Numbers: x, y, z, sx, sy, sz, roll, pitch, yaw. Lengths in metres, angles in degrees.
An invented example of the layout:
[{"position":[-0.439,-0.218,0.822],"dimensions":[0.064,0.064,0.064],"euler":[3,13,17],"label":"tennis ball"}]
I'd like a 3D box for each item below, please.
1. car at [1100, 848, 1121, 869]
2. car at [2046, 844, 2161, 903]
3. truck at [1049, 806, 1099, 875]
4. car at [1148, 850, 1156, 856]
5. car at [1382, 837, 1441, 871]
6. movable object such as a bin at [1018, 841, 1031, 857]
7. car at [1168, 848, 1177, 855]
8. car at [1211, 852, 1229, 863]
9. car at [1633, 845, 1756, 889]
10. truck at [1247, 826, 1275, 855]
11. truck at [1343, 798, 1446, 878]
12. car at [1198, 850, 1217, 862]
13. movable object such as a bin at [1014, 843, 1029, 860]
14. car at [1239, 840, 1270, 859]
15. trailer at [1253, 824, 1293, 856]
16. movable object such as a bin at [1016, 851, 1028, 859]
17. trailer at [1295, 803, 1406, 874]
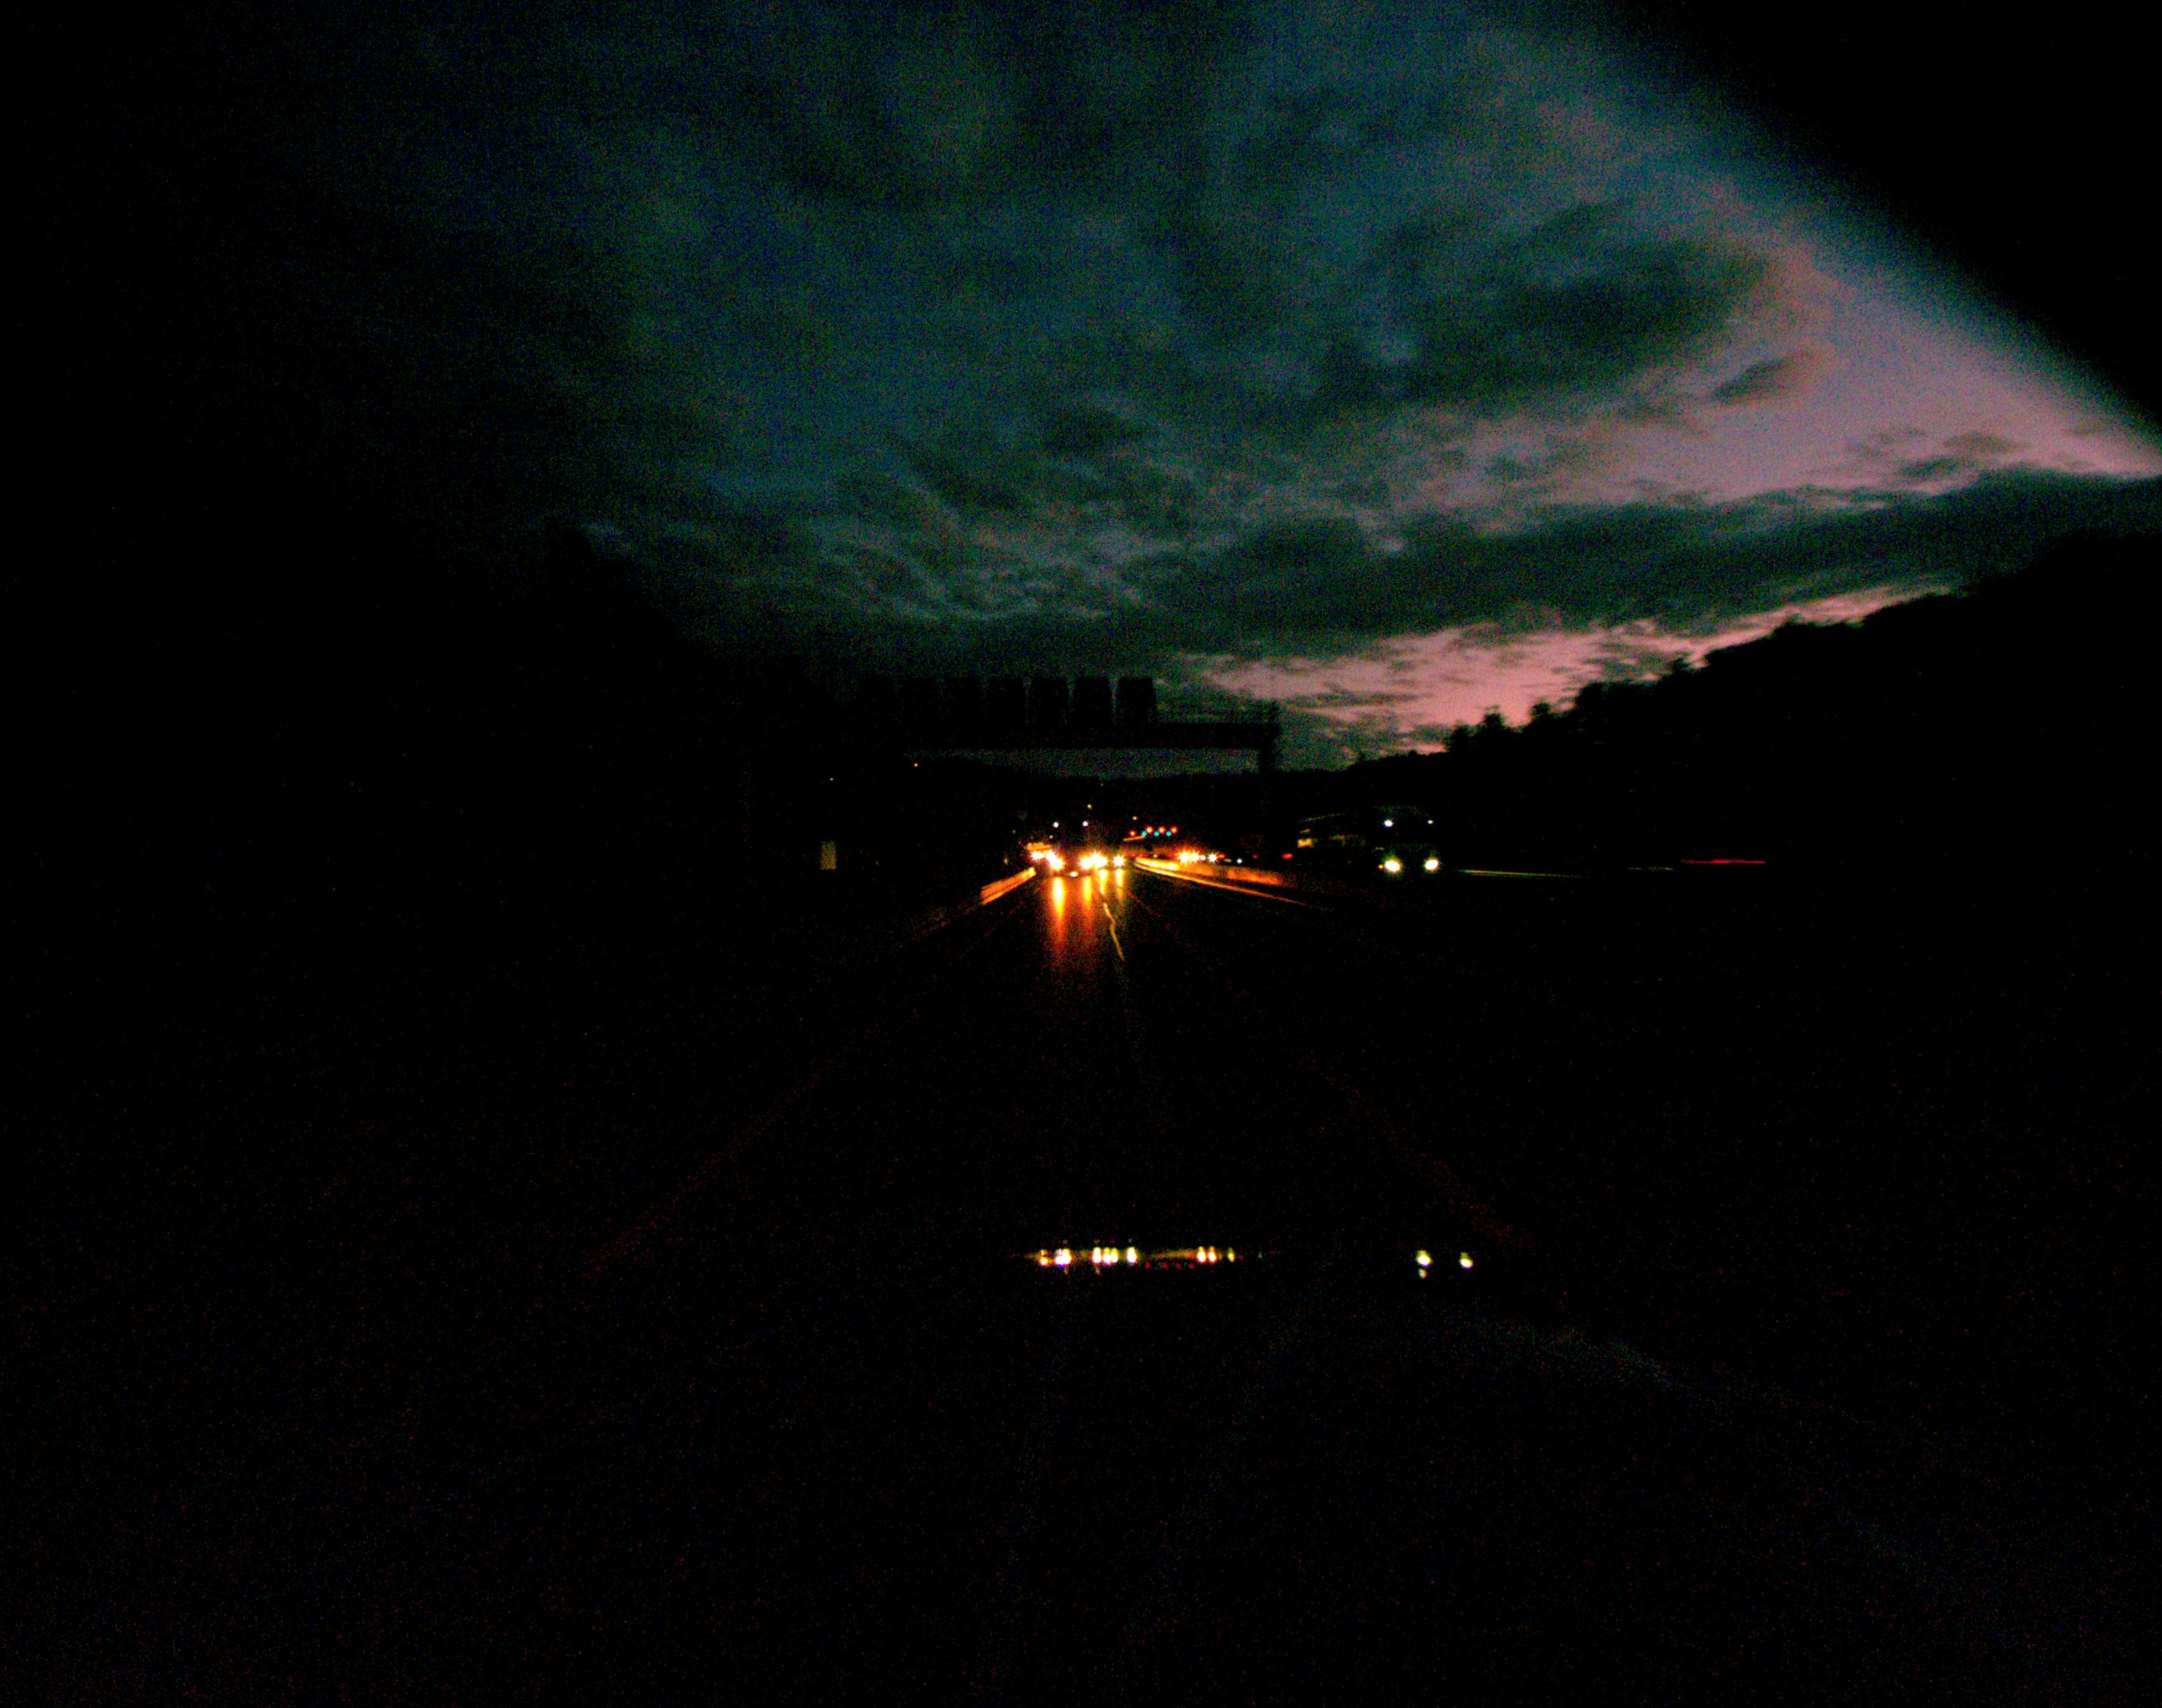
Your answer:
[{"position":[2.528,0.378,64.748],"dimensions":[1.662,1.586,3.996],"euler":[-3,1,3],"label":"car"},{"position":[25.575,0.440,17.344],"dimensions":[1.999,1.315,3.999],"euler":[-1,0,-1],"label":"car"},{"position":[-0.632,-0.909,53.343],"dimensions":[2.954,4.241,11.049],"euler":[-3,1,-2],"label":"truck"},{"position":[20.465,-0.422,220.556],"dimensions":[1.809,1.628,4.750],"euler":[-3,1,0],"label":"car"},{"position":[23.423,-0.020,54.054],"dimensions":[1.999,2.177,4.801],"euler":[-3,1,0],"label":"car"},{"position":[-12.038,-1.099,162.656],"dimensions":[2.571,3.299,5.576],"euler":[0,1,-3],"label":"movable object such as a bin"},{"position":[23.083,-0.624,191.610],"dimensions":[1.741,1.628,5.169],"euler":[-3,1,0],"label":"car"},{"position":[21.864,0.518,119.857],"dimensions":[1.998,1.666,4.515],"euler":[-3,1,2],"label":"car"},{"position":[22.151,0.427,27.613],"dimensions":[1.631,1.398,3.520],"euler":[-3,1,1],"label":"car"},{"position":[27.563,-2.072,116.513],"dimensions":[2.784,4.147,6.385],"euler":[-3,1,2],"label":"truck"},{"position":[16.447,-0.824,40.404],"dimensions":[2.809,3.753,6.301],"euler":[-3,1,1],"label":"truck"},{"position":[17.554,0.279,105.695],"dimensions":[1.792,1.472,3.999],"euler":[-3,1,-1],"label":"car"},{"position":[-10.862,-0.510,139.278],"dimensions":[2.628,3.090,5.803],"euler":[-1,1,-3],"label":"movable object such as a bin"},{"position":[18.388,-0.499,80.723],"dimensions":[2.096,1.873,4.699],"euler":[-3,1,-1],"label":"car"},{"position":[27.332,-1.971,109.023],"dimensions":[2.785,4.182,12.401],"euler":[-3,1,2],"label":"trailer"},{"position":[-11.195,0.179,144.239],"dimensions":[1.999,1.592,4.083],"euler":[0,1,-2],"label":"movable object such as a bin"},{"position":[16.545,-0.921,47.855],"dimensions":[2.806,3.761,11.834],"euler":[-3,1,1],"label":"trailer"}]
